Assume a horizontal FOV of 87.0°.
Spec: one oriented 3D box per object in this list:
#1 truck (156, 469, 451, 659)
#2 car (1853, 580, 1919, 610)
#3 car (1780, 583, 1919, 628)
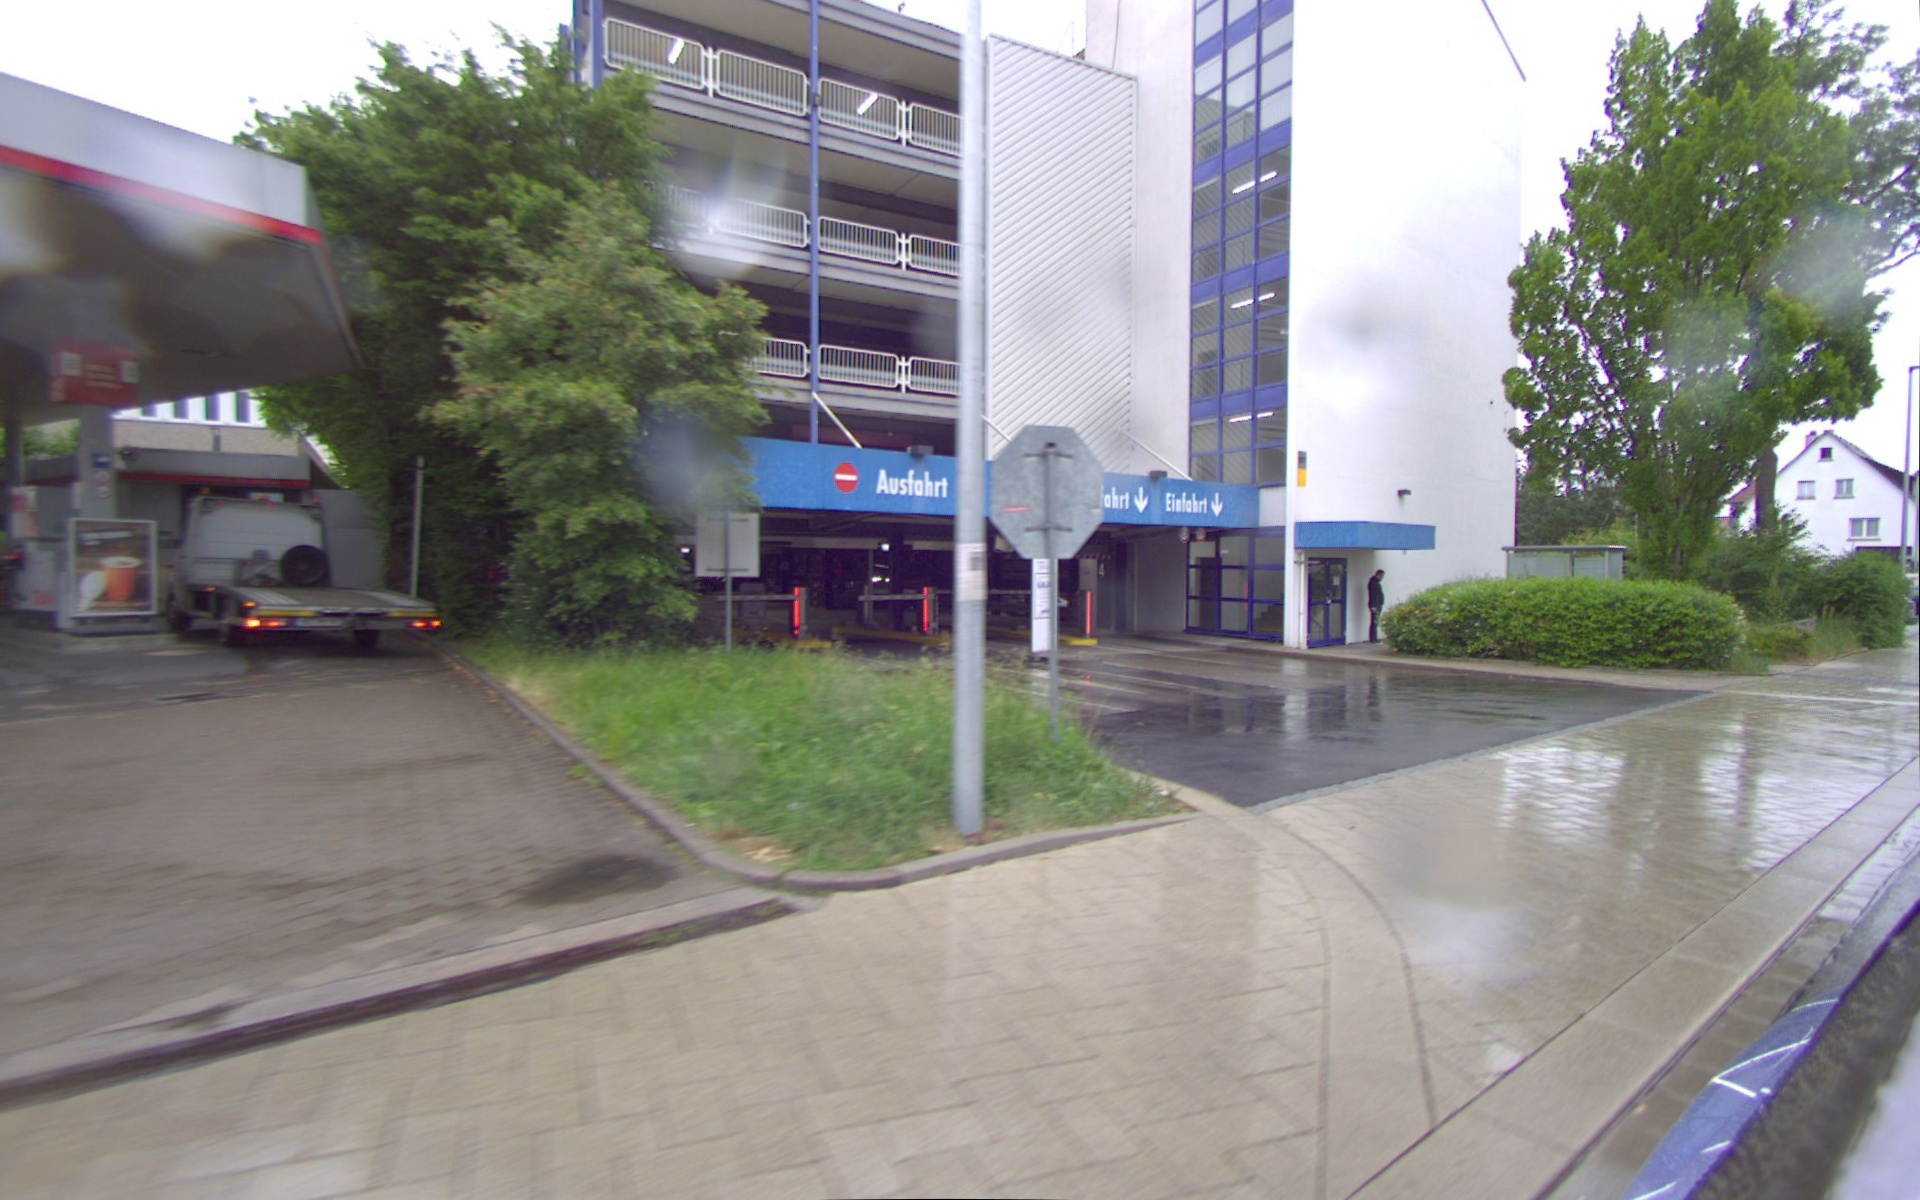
[{"bbox_3d":[-10.111,-0.586,15.178,7.279,2.234,2.052,4,1,44],"label":"truck"},{"bbox_3d":[48.461,-0.248,51.815,1.838,1.471,3.991,0,2,-44],"label":"car"},{"bbox_3d":[31.485,0.154,35.544,1.838,1.471,3.991,0,2,-44],"label":"car"}]
